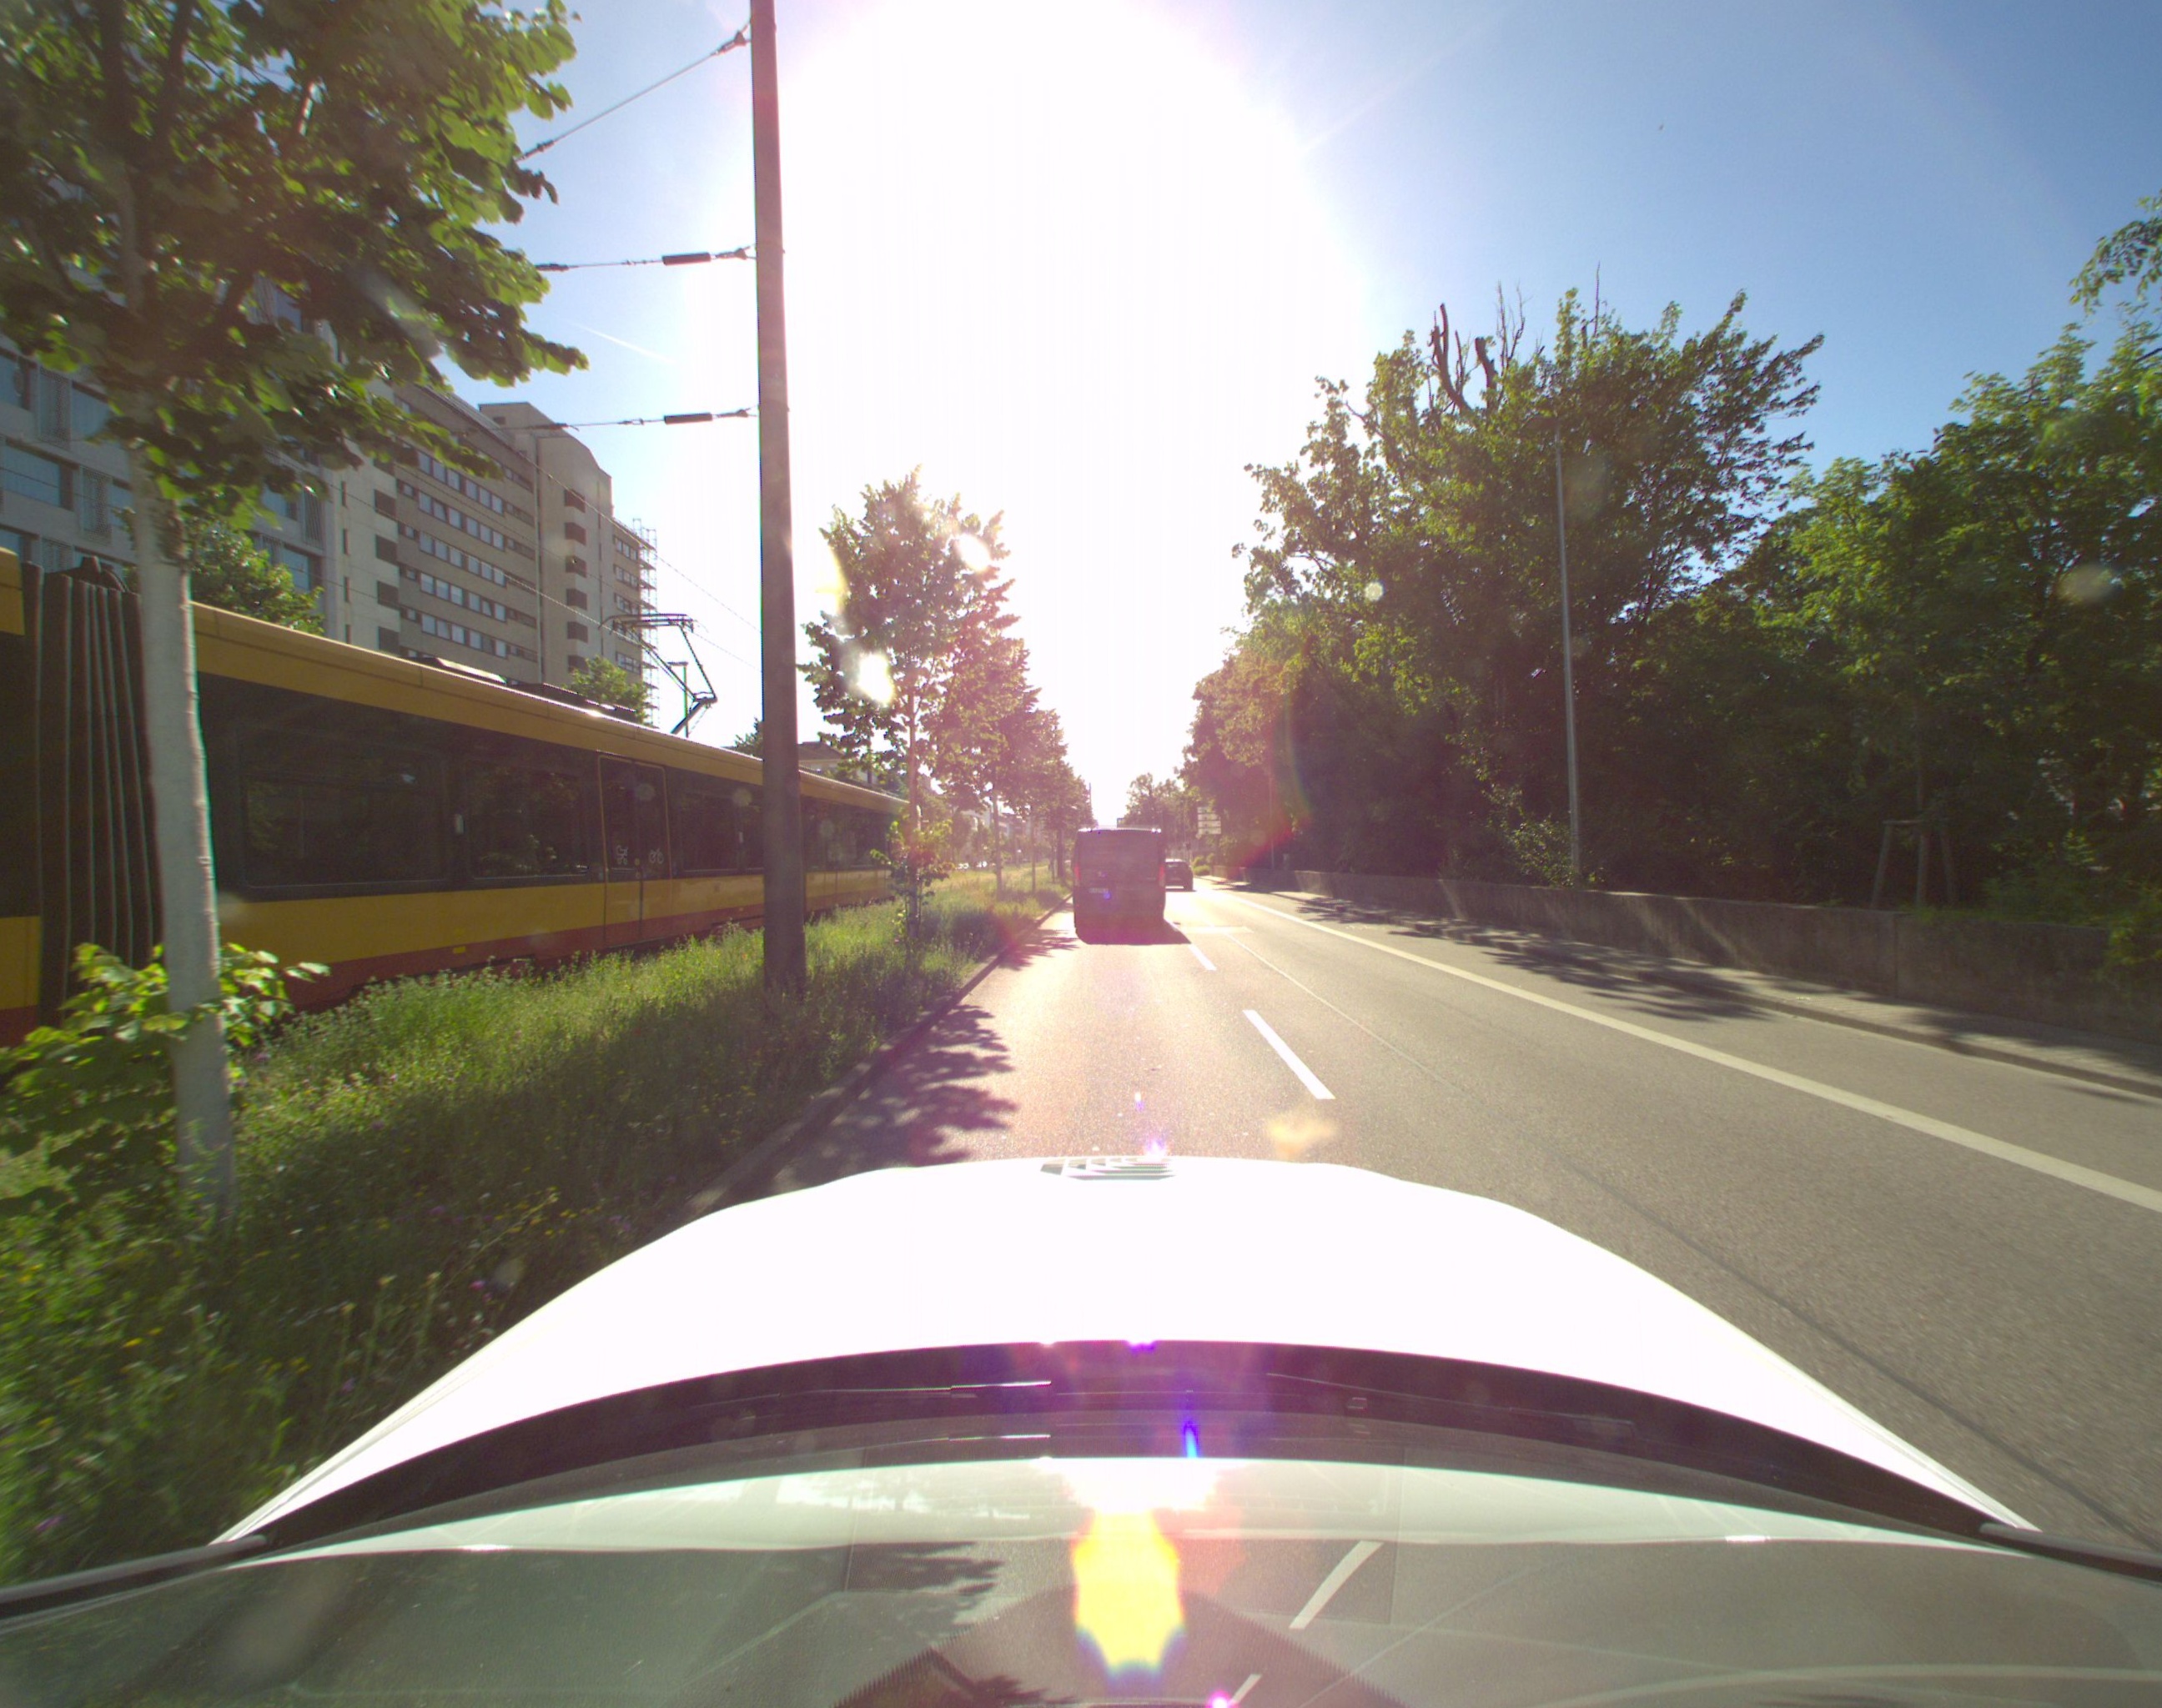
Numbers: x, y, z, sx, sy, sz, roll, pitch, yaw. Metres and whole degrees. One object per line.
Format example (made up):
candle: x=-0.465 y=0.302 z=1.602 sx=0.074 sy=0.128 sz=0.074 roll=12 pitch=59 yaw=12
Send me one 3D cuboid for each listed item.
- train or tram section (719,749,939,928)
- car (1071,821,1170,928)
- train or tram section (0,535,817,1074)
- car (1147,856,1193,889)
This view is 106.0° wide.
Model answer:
train or tram section: x=-6.242 y=-0.284 z=22.699 sx=1.985 sy=3.669 sz=11.690 roll=-1 pitch=0 yaw=3
car: x=0.887 y=0.445 z=19.349 sx=2.074 sy=2.249 sz=4.001 roll=-1 pitch=0 yaw=1
train or tram section: x=-6.693 y=-0.304 z=11.237 sx=1.986 sy=3.669 sz=11.321 roll=-1 pitch=0 yaw=2
car: x=4.236 y=0.865 z=39.087 sx=1.757 sy=1.462 sz=3.999 roll=-1 pitch=0 yaw=0
